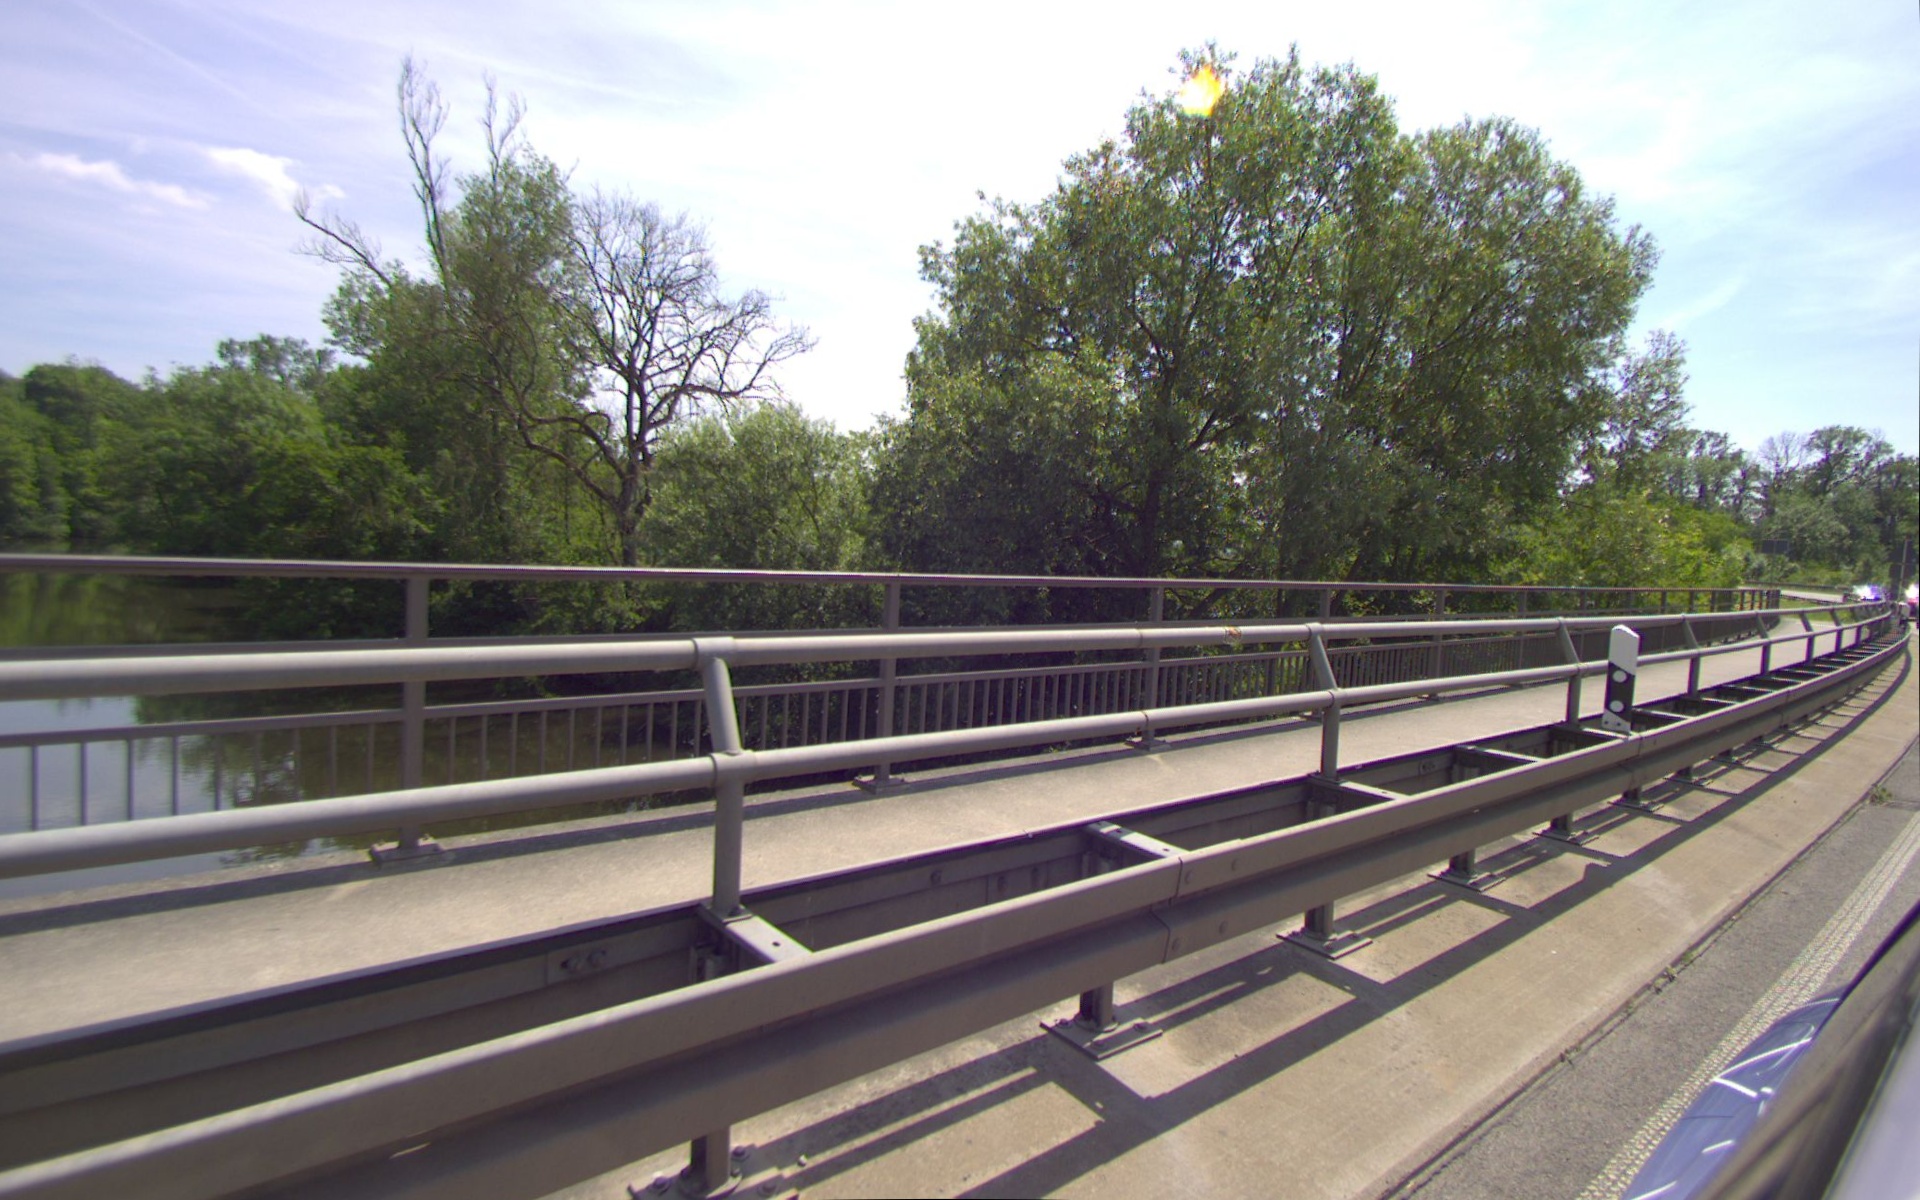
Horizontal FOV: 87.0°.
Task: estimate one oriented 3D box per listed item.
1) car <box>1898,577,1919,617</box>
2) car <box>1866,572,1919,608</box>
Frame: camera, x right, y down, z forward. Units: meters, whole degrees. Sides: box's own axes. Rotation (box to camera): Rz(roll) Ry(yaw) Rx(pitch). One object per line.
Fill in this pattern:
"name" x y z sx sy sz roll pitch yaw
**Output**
"car" 44.899 -0.139 46.722 1.989 1.798 3.946 0 0 38
"car" 54.948 -0.605 59.638 1.990 2.039 3.945 2 2 38
